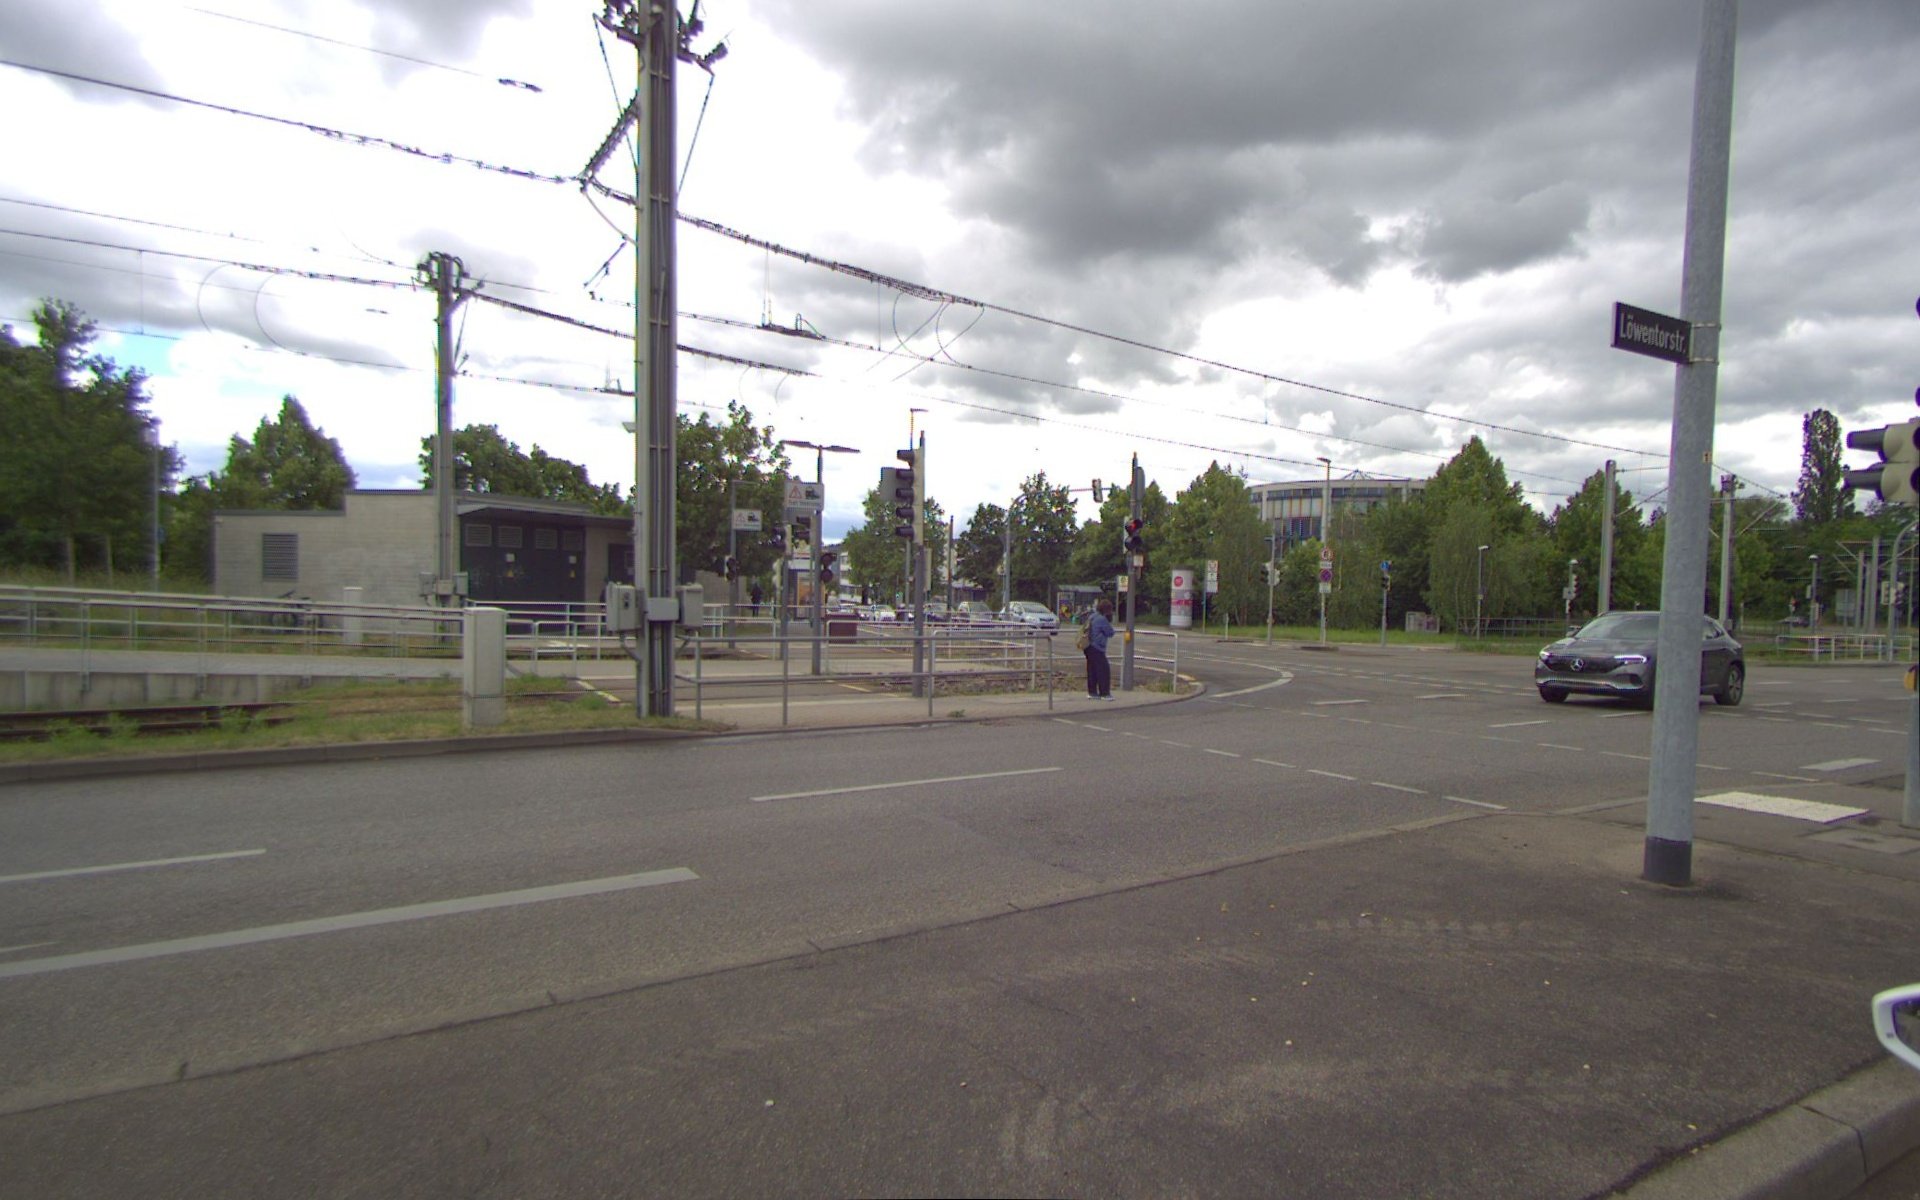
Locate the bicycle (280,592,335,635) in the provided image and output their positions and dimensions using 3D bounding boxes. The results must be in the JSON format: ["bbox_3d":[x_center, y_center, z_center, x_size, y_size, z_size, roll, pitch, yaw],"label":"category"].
[{"bbox_3d":[-17.327,0.351,26.672,1.452,1.101,0.492,1,0,22],"label":"bicycle"}]

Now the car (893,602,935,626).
[{"bbox_3d":[-3.006,0.895,64.926,1.706,1.456,3.731,1,0,-20],"label":"car"}]

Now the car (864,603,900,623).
[{"bbox_3d":[-5.815,0.971,74.777,1.706,1.456,3.731,1,0,-20],"label":"car"}]

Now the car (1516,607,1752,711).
[{"bbox_3d":[11.631,0.950,17.276,4.176,1.567,1.769,1,0,-31],"label":"car"}]

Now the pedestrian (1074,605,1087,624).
[{"bbox_3d":[8.546,1.059,71.529,0.652,1.322,0.780,1,0,-16],"label":"pedestrian"}]

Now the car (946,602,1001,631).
[{"bbox_3d":[0.688,0.850,53.664,1.706,1.456,3.731,1,0,-20],"label":"car"}]

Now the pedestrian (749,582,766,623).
[{"bbox_3d":[-10.081,0.131,49.960,0.738,1.993,0.795,1,0,-9],"label":"pedestrian"}]

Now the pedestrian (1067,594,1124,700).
[{"bbox_3d":[2.083,0.705,15.435,0.701,1.584,0.533,1,1,-44],"label":"pedestrian"}]

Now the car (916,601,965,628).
[{"bbox_3d":[-1.151,0.823,58.160,1.706,1.456,3.731,1,0,-20],"label":"car"}]

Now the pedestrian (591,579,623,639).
[{"bbox_3d":[-9.818,0.254,27.935,0.698,1.628,0.652,1,0,-32],"label":"pedestrian"}]

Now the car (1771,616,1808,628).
[{"bbox_3d":[116.066,3.041,140.572,1.750,1.567,4.022,1,0,-5],"label":"car"}]

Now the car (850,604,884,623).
[{"bbox_3d":[-7.421,1.031,79.679,1.706,1.456,3.991,1,0,-20],"label":"car"}]

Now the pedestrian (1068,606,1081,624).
[{"bbox_3d":[8.302,1.086,72.910,0.652,1.321,0.780,1,0,-16],"label":"pedestrian"}]

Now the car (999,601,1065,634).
[{"bbox_3d":[3.301,0.805,46.805,1.706,1.456,3.731,1,0,-20],"label":"car"}]

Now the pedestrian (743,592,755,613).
[{"bbox_3d":[-16.688,0.174,79.357,0.771,1.649,0.660,1,0,-22],"label":"pedestrian"}]

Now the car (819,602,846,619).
[{"bbox_3d":[-11.935,0.972,94.067,1.706,1.456,3.731,1,0,-20],"label":"car"}]

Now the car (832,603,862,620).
[{"bbox_3d":[-9.772,0.996,86.711,1.706,1.456,3.731,1,0,-20],"label":"car"}]
